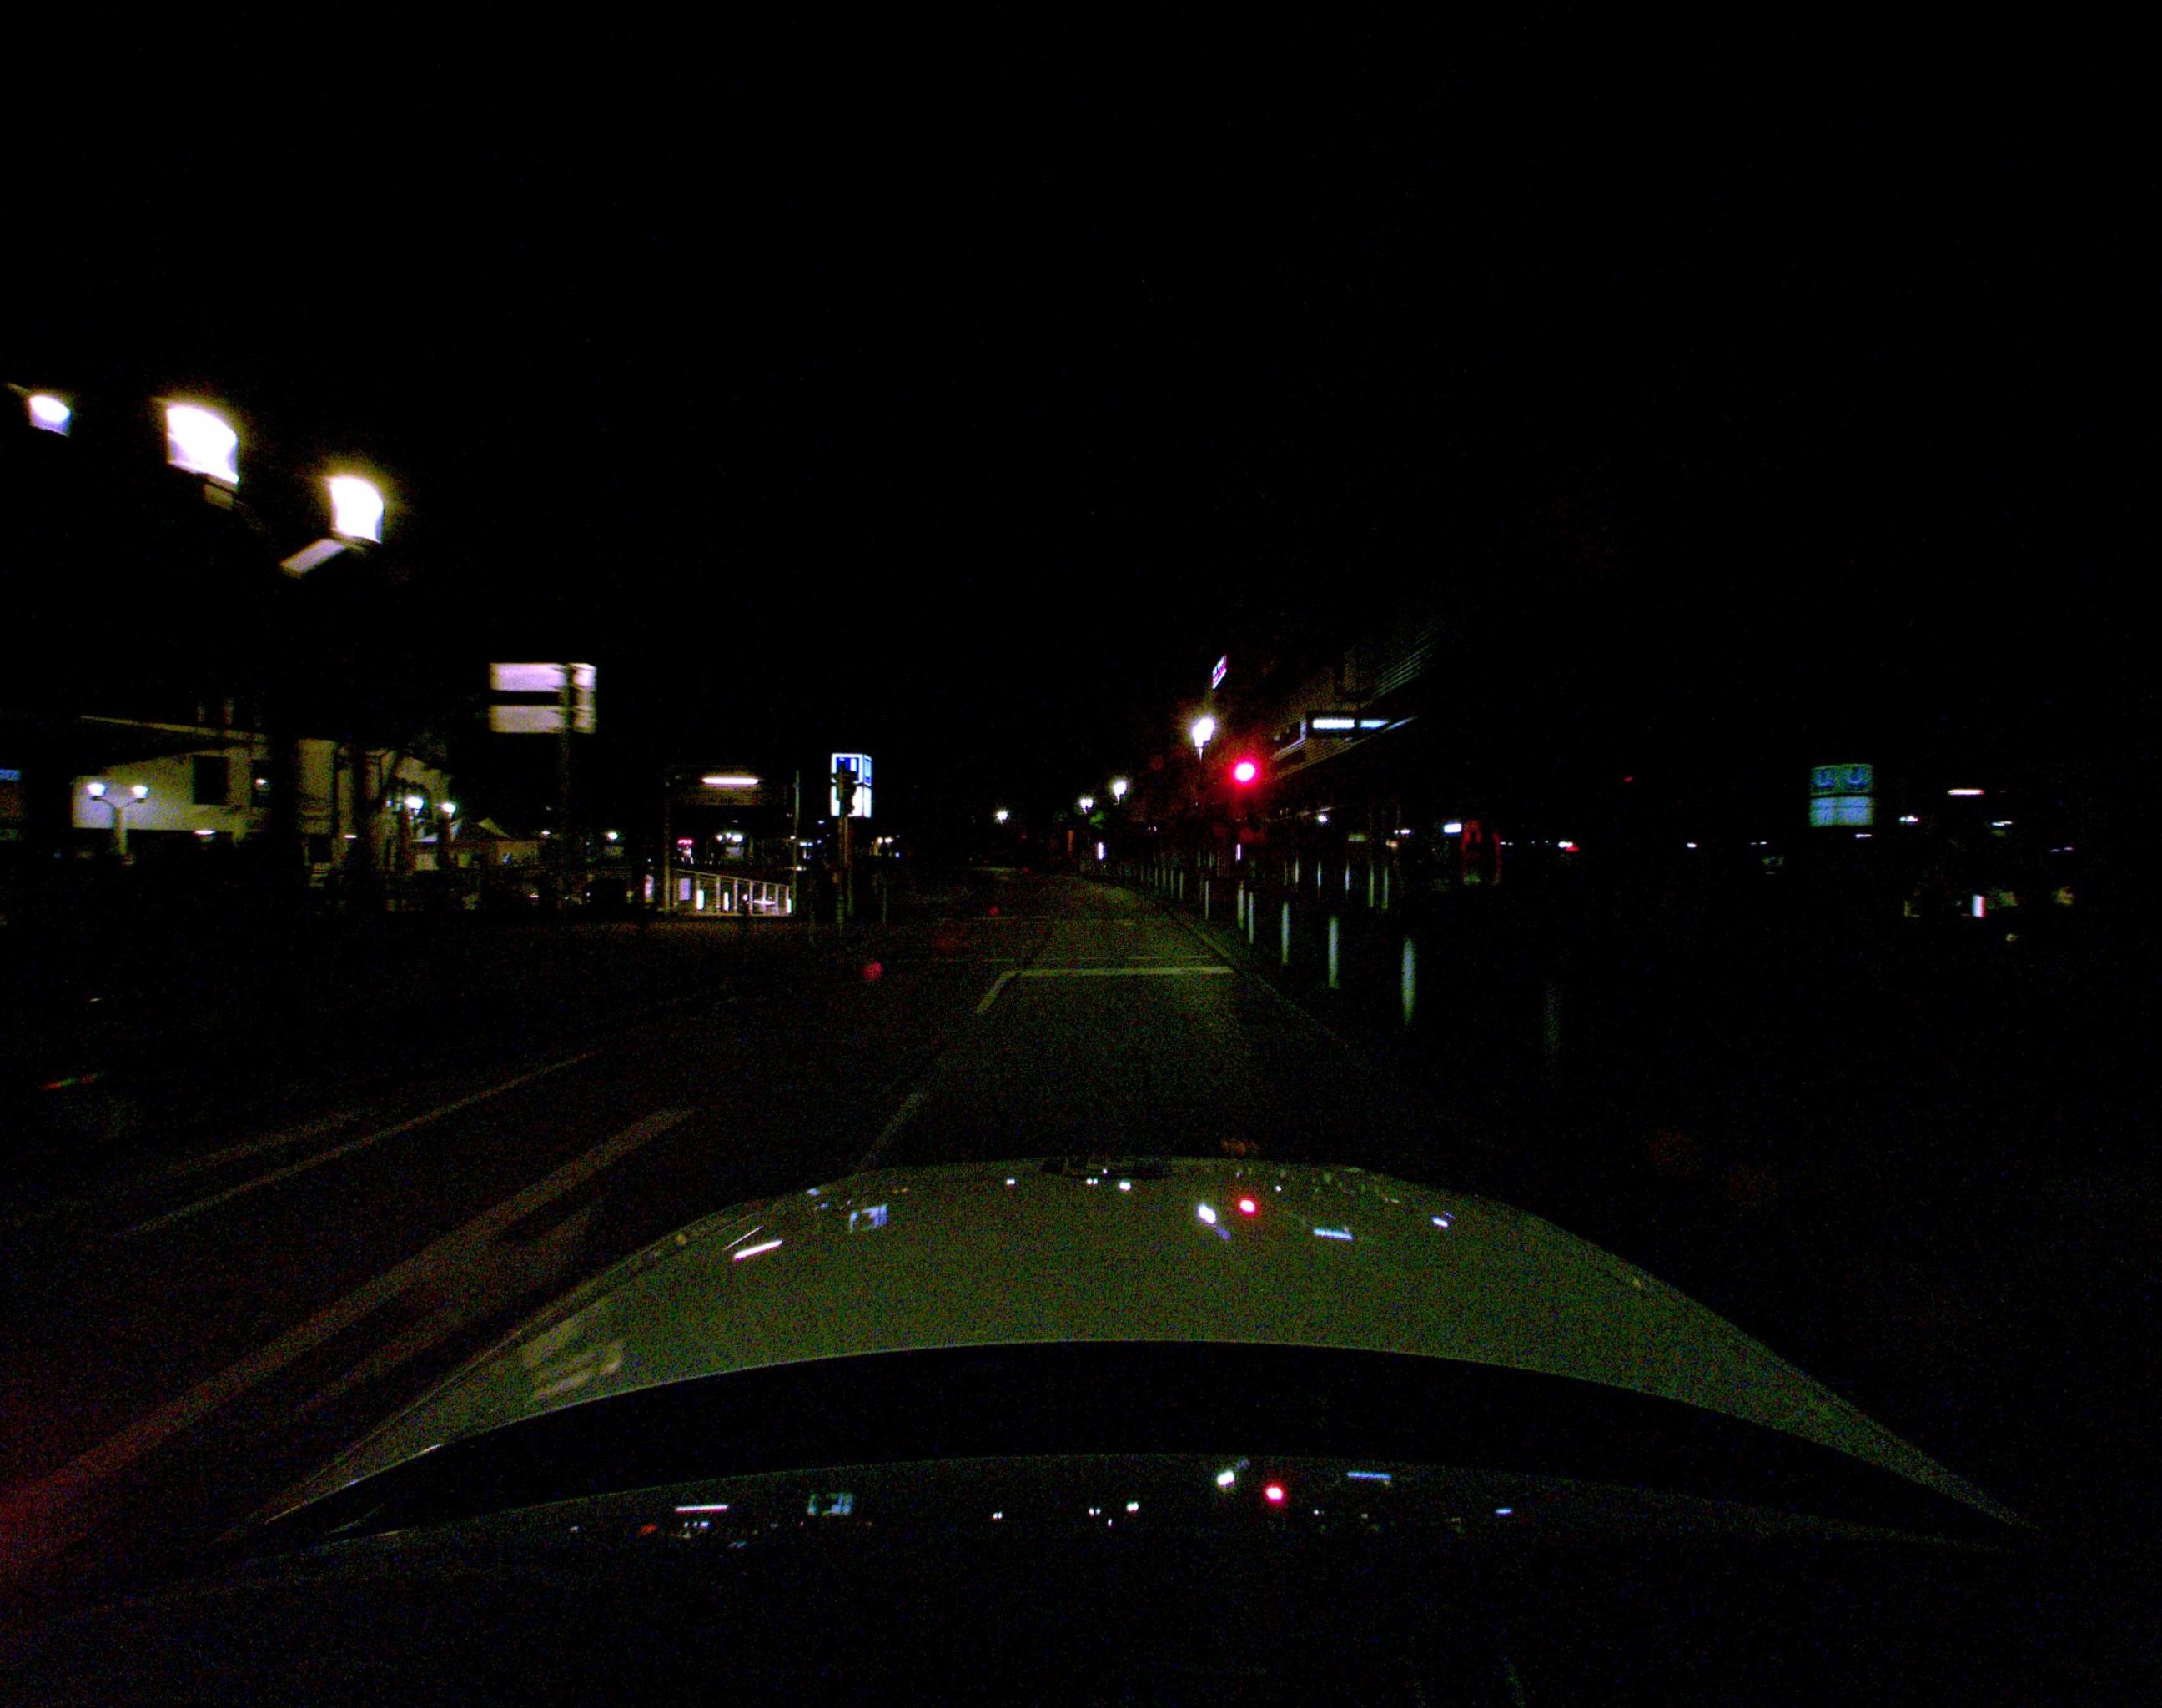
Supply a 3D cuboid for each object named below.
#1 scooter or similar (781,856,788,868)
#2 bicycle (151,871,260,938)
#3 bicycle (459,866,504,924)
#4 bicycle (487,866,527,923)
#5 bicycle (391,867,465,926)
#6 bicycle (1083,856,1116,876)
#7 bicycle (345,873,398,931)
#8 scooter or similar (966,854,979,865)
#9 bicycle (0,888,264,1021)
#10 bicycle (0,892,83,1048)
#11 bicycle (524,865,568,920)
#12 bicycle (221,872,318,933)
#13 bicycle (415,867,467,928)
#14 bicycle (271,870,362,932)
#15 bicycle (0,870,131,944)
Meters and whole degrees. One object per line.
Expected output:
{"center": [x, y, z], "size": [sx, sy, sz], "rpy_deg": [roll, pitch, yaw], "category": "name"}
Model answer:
{"center": [-32.208, 0.861, 88.518], "size": [0.433, 1.284, 1.135], "rpy_deg": [-2, 1, -33], "category": "scooter or similar"}
{"center": [-17.147, 0.947, 16.011], "size": [0.608, 1.165, 1.738], "rpy_deg": [-1, 1, -16], "category": "bicycle"}
{"center": [-13.363, 0.887, 18.178], "size": [0.611, 1.165, 1.730], "rpy_deg": [-2, 1, -31], "category": "bicycle"}
{"center": [-12.810, 0.883, 18.204], "size": [0.546, 1.154, 1.730], "rpy_deg": [-2, 1, -31], "category": "bicycle"}
{"center": [-14.413, 0.905, 18.036], "size": [0.608, 1.165, 1.738], "rpy_deg": [-1, 1, -15], "category": "bicycle"}
{"center": [1.021, 0.653, 44.844], "size": [1.757, 1.062, 0.650], "rpy_deg": [0, 1, -24], "category": "bicycle"}
{"center": [-14.848, 0.977, 17.072], "size": [0.611, 1.069, 1.729], "rpy_deg": [-2, 1, -34], "category": "bicycle"}
{"center": [-11.642, 0.596, 87.689], "size": [1.253, 1.227, 0.593], "rpy_deg": [1, 0, -26], "category": "scooter or similar"}
{"center": [-8.417, 0.867, 7.241], "size": [1.610, 1.105, 0.670], "rpy_deg": [0, -1, 1], "category": "bicycle"}
{"center": [-8.610, 0.850, 6.030], "size": [1.610, 1.105, 0.670], "rpy_deg": [0, -1, 1], "category": "bicycle"}
{"center": [-12.467, 0.873, 19.019], "size": [0.764, 1.162, 1.730], "rpy_deg": [-2, 1, -31], "category": "bicycle"}
{"center": [-16.623, 0.963, 16.740], "size": [0.608, 1.100, 1.738], "rpy_deg": [-1, 1, -16], "category": "bicycle"}
{"center": [-13.548, 0.885, 17.272], "size": [0.611, 1.165, 1.730], "rpy_deg": [-2, 1, -31], "category": "bicycle"}
{"center": [-15.724, 0.937, 16.796], "size": [0.608, 1.125, 1.738], "rpy_deg": [-1, 1, -16], "category": "bicycle"}
{"center": [-18.846, 0.941, 15.167], "size": [0.608, 1.218, 1.738], "rpy_deg": [-1, 1, -16], "category": "bicycle"}
